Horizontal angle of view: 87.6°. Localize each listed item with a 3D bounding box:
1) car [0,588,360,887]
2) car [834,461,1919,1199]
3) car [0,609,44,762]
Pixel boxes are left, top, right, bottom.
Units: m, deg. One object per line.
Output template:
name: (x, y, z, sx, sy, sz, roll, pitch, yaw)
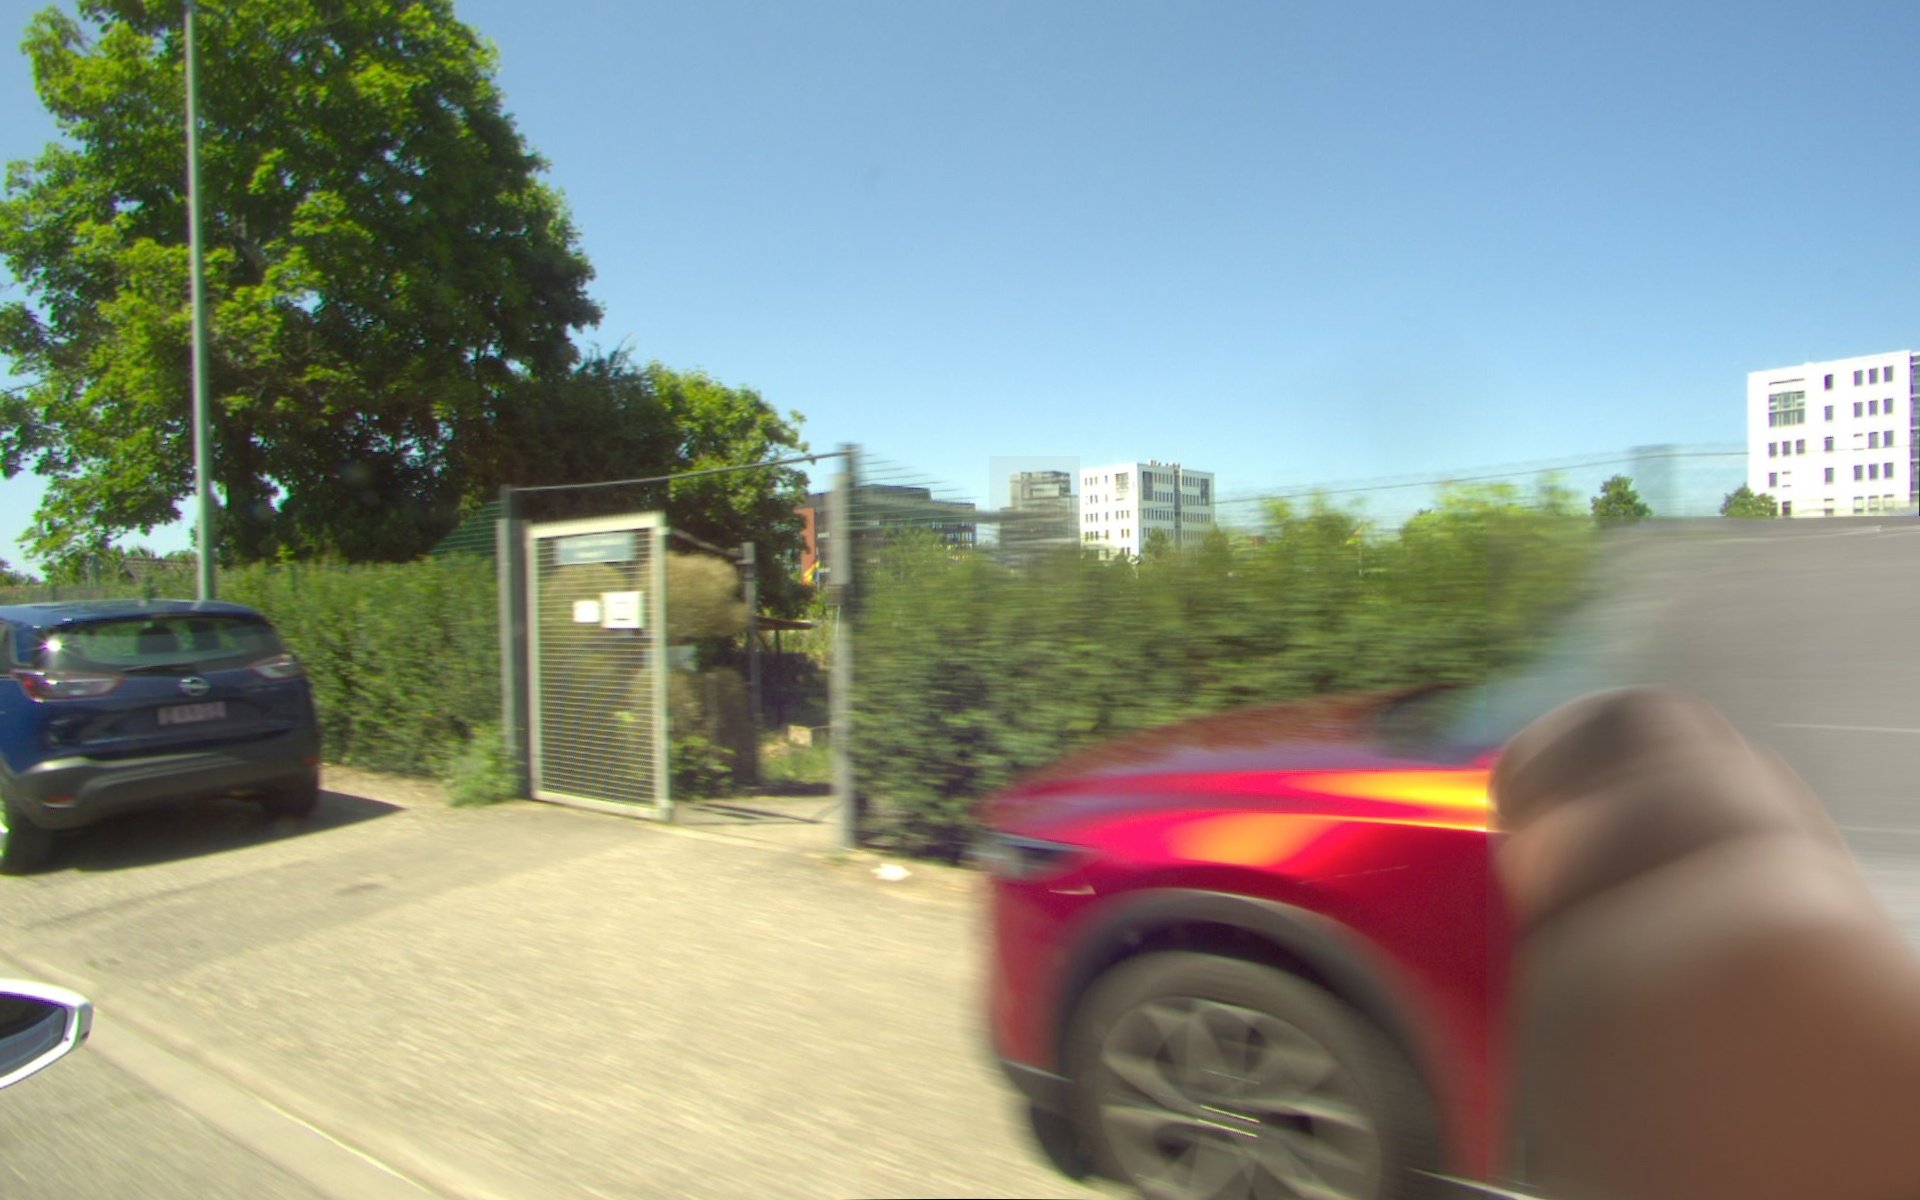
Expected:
car: (-6.362, 0.748, 7.319, 4.071, 1.625, 1.785, 0, 1, 33)
car: (2.012, 0.584, 2.164, 4.390, 1.681, 1.783, -1, 3, 34)
car: (-11.773, 0.917, 10.705, 4.600, 1.502, 1.783, -1, 3, 34)
